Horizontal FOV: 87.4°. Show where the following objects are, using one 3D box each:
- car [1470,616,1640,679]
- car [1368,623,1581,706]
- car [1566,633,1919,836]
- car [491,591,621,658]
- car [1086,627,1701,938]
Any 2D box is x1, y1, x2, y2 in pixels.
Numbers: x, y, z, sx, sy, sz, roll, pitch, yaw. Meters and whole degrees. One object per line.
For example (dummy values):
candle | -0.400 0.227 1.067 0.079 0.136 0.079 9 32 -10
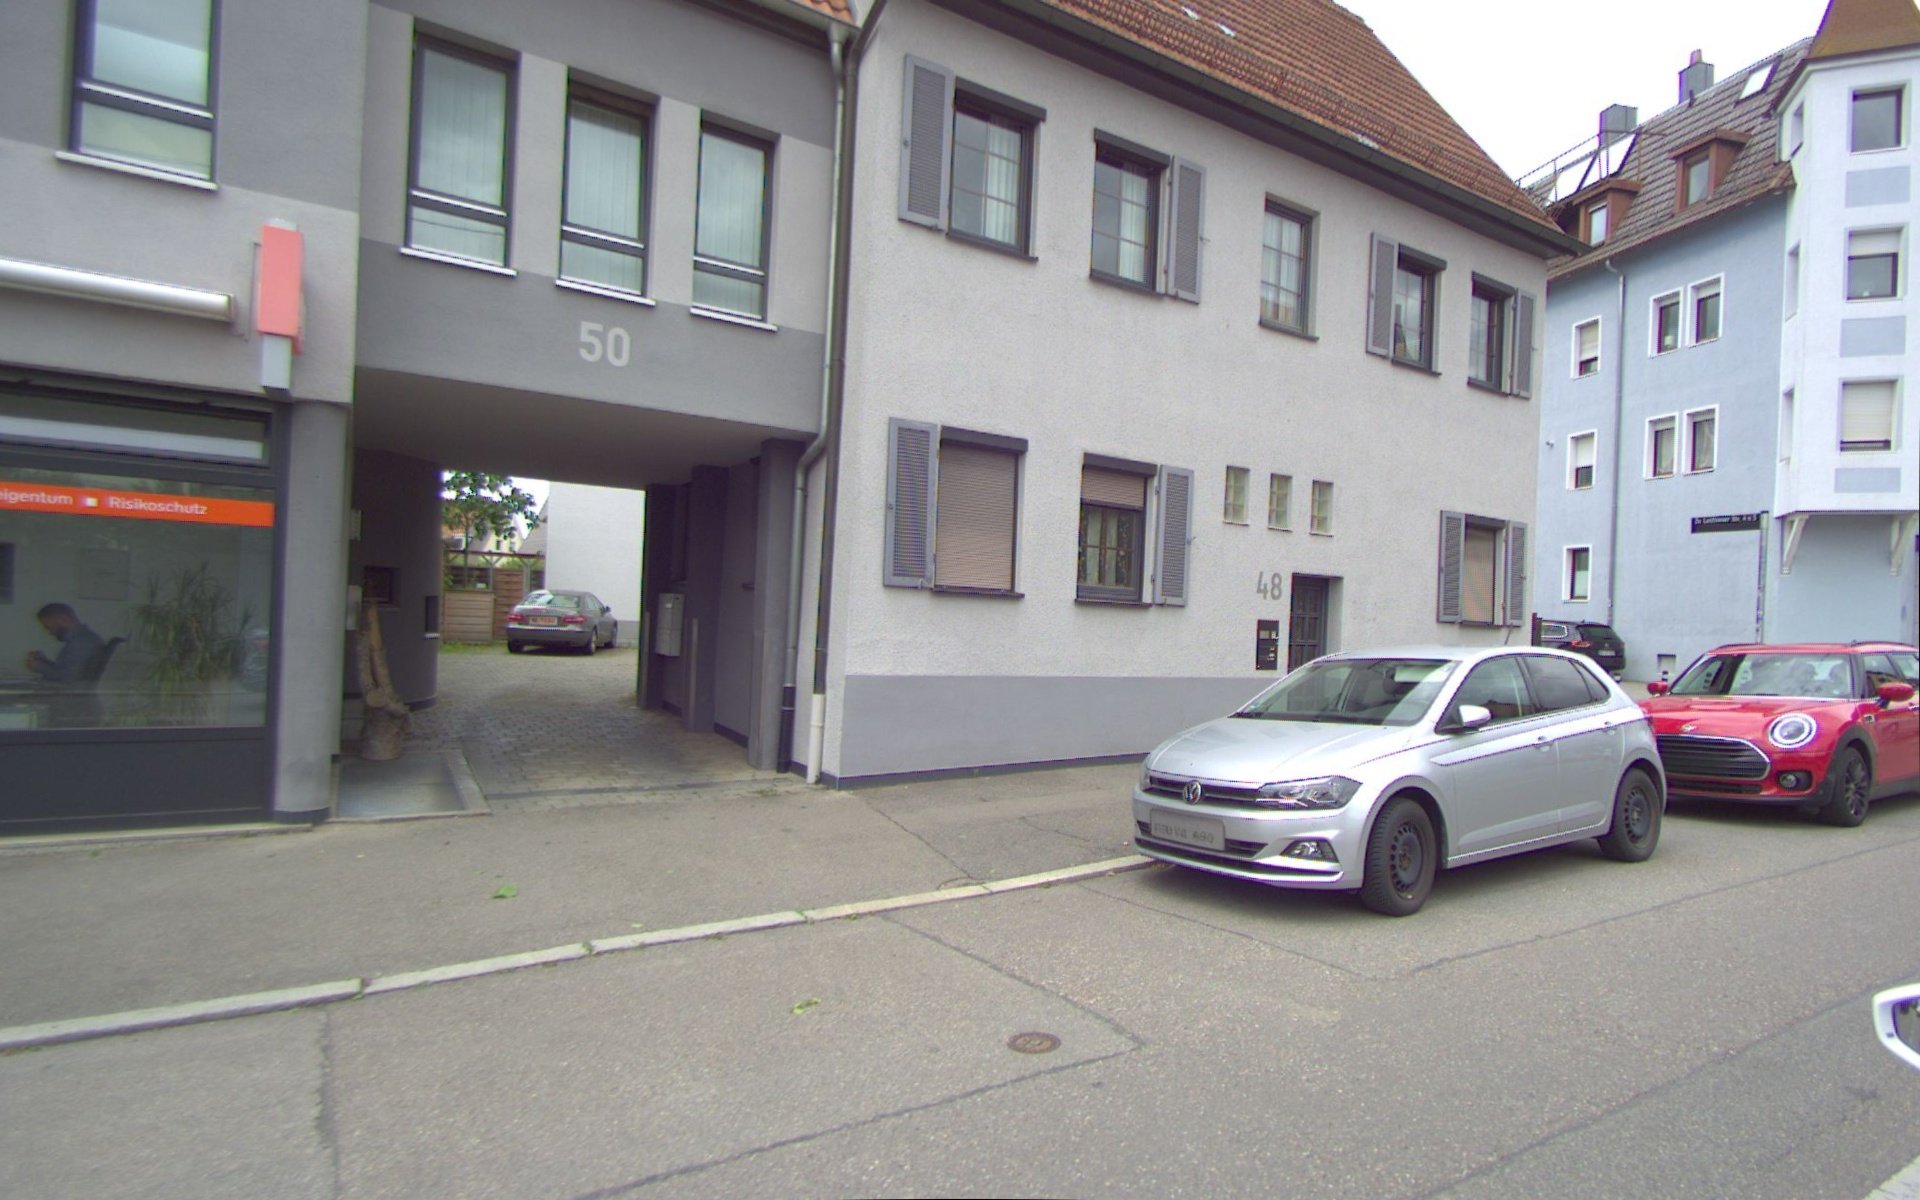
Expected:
car | 15.811 1.220 26.938 1.787 1.412 3.888 0 1 -11
car | 10.245 1.214 19.990 3.844 1.412 1.807 0 2 -26
car | 7.612 1.090 9.285 4.005 1.498 1.790 2 -3 -31
car | -9.045 0.548 22.820 1.913 1.297 3.904 3 -2 -10
car | 2.972 0.976 6.708 4.005 1.498 1.790 2 -3 -31
